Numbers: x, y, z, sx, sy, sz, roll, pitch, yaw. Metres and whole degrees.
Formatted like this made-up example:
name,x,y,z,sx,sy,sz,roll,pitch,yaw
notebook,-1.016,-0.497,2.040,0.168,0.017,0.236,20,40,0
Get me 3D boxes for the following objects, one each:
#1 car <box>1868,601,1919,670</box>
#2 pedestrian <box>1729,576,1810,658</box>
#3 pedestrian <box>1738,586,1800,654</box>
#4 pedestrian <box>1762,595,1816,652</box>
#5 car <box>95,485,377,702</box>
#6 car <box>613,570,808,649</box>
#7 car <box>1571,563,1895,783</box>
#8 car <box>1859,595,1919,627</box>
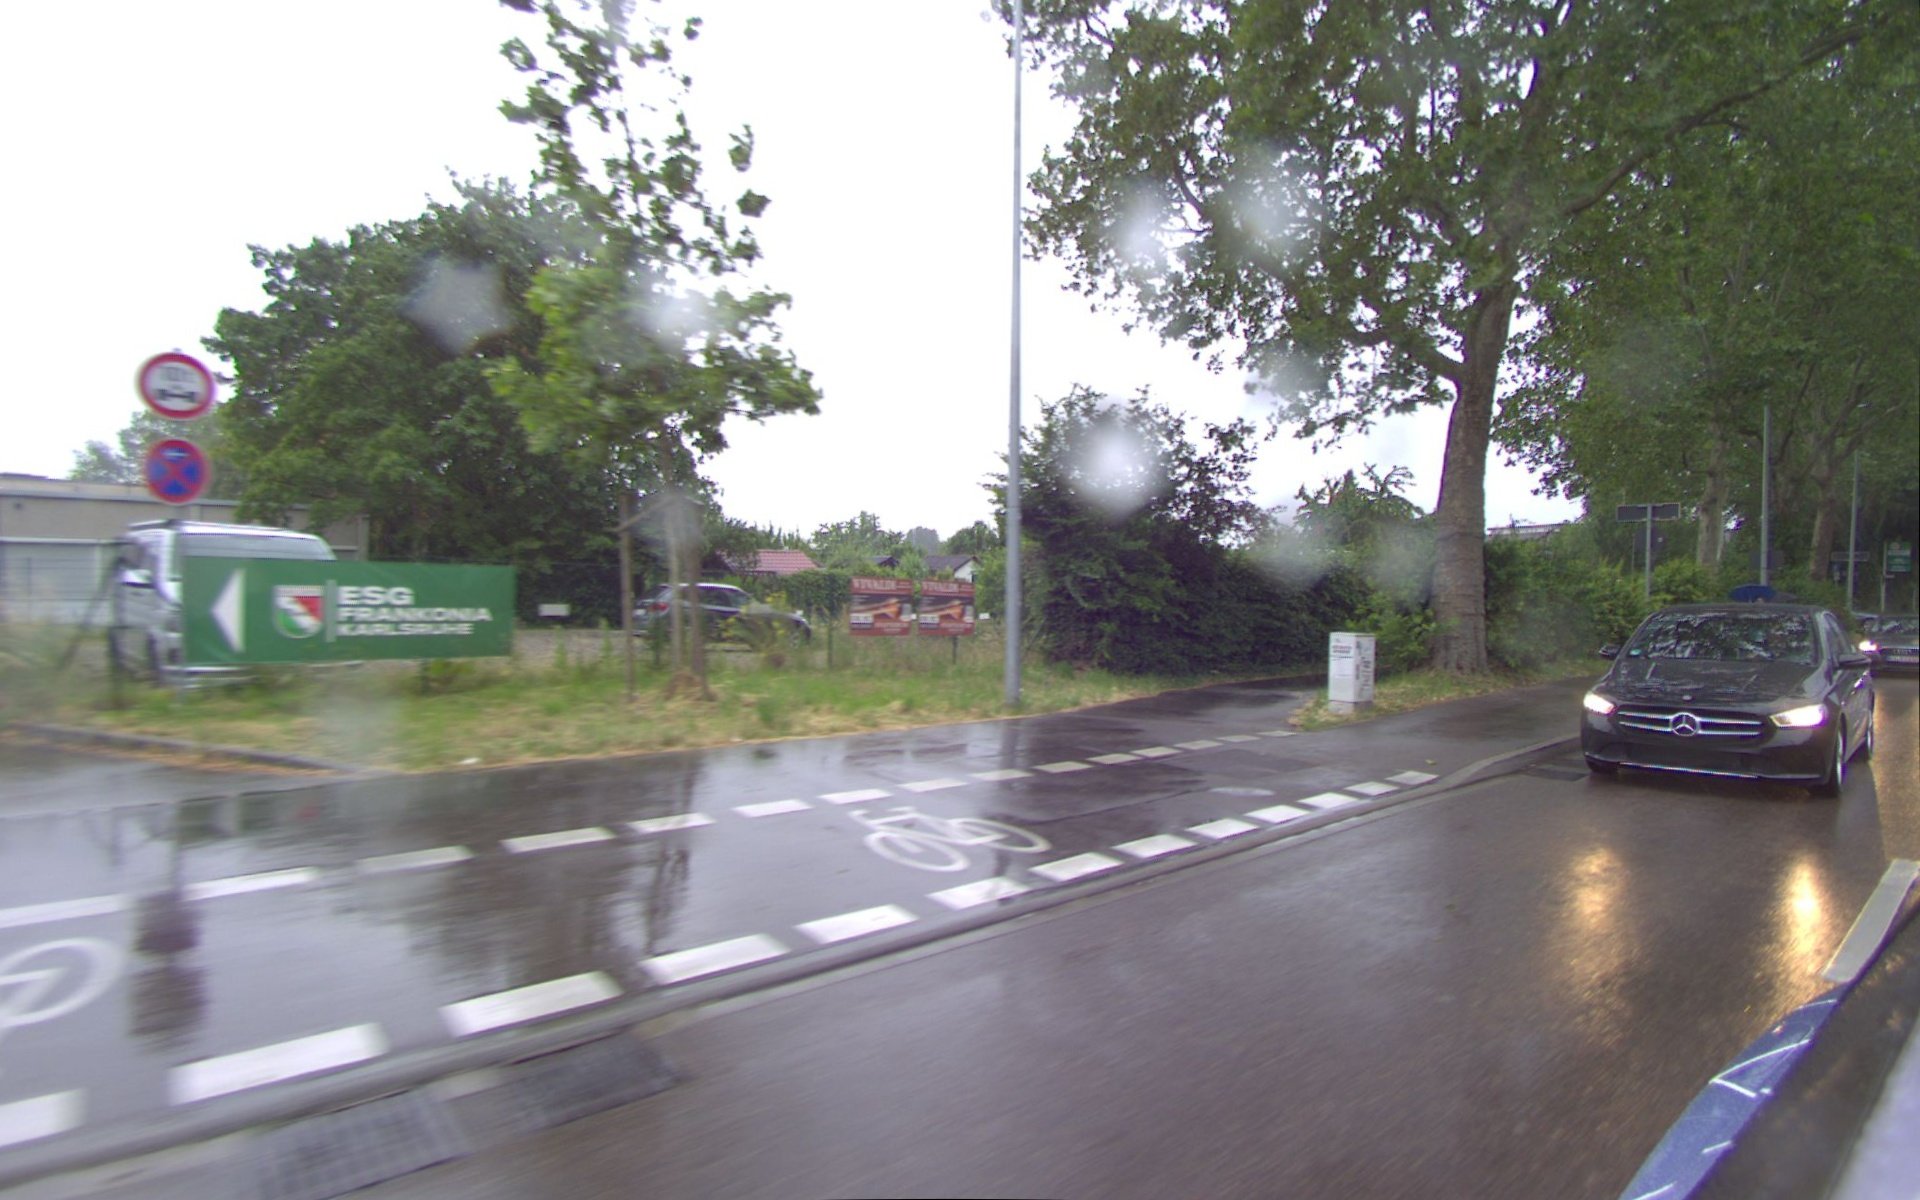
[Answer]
name,x,y,z,sx,sy,sz,roll,pitch,yaw
car,21.661,0.749,22.617,3.717,1.402,1.640,-1,1,-42
pedestrian,19.010,0.371,23.769,1.127,1.807,1.242,0,3,-41
pedestrian,20.142,0.467,25.188,1.271,1.608,0.949,0,2,-41
pedestrian,21.950,0.599,26.800,0.999,1.407,0.894,0,3,-41
car,-8.800,-0.063,12.071,1.967,2.039,5.252,0,0,-44
car,-5.808,0.267,23.770,3.926,1.639,1.998,4,-2,-38
car,7.266,0.502,9.324,1.817,1.549,4.350,0,0,45
car,47.603,0.566,50.904,1.630,1.516,3.385,2,0,-42
